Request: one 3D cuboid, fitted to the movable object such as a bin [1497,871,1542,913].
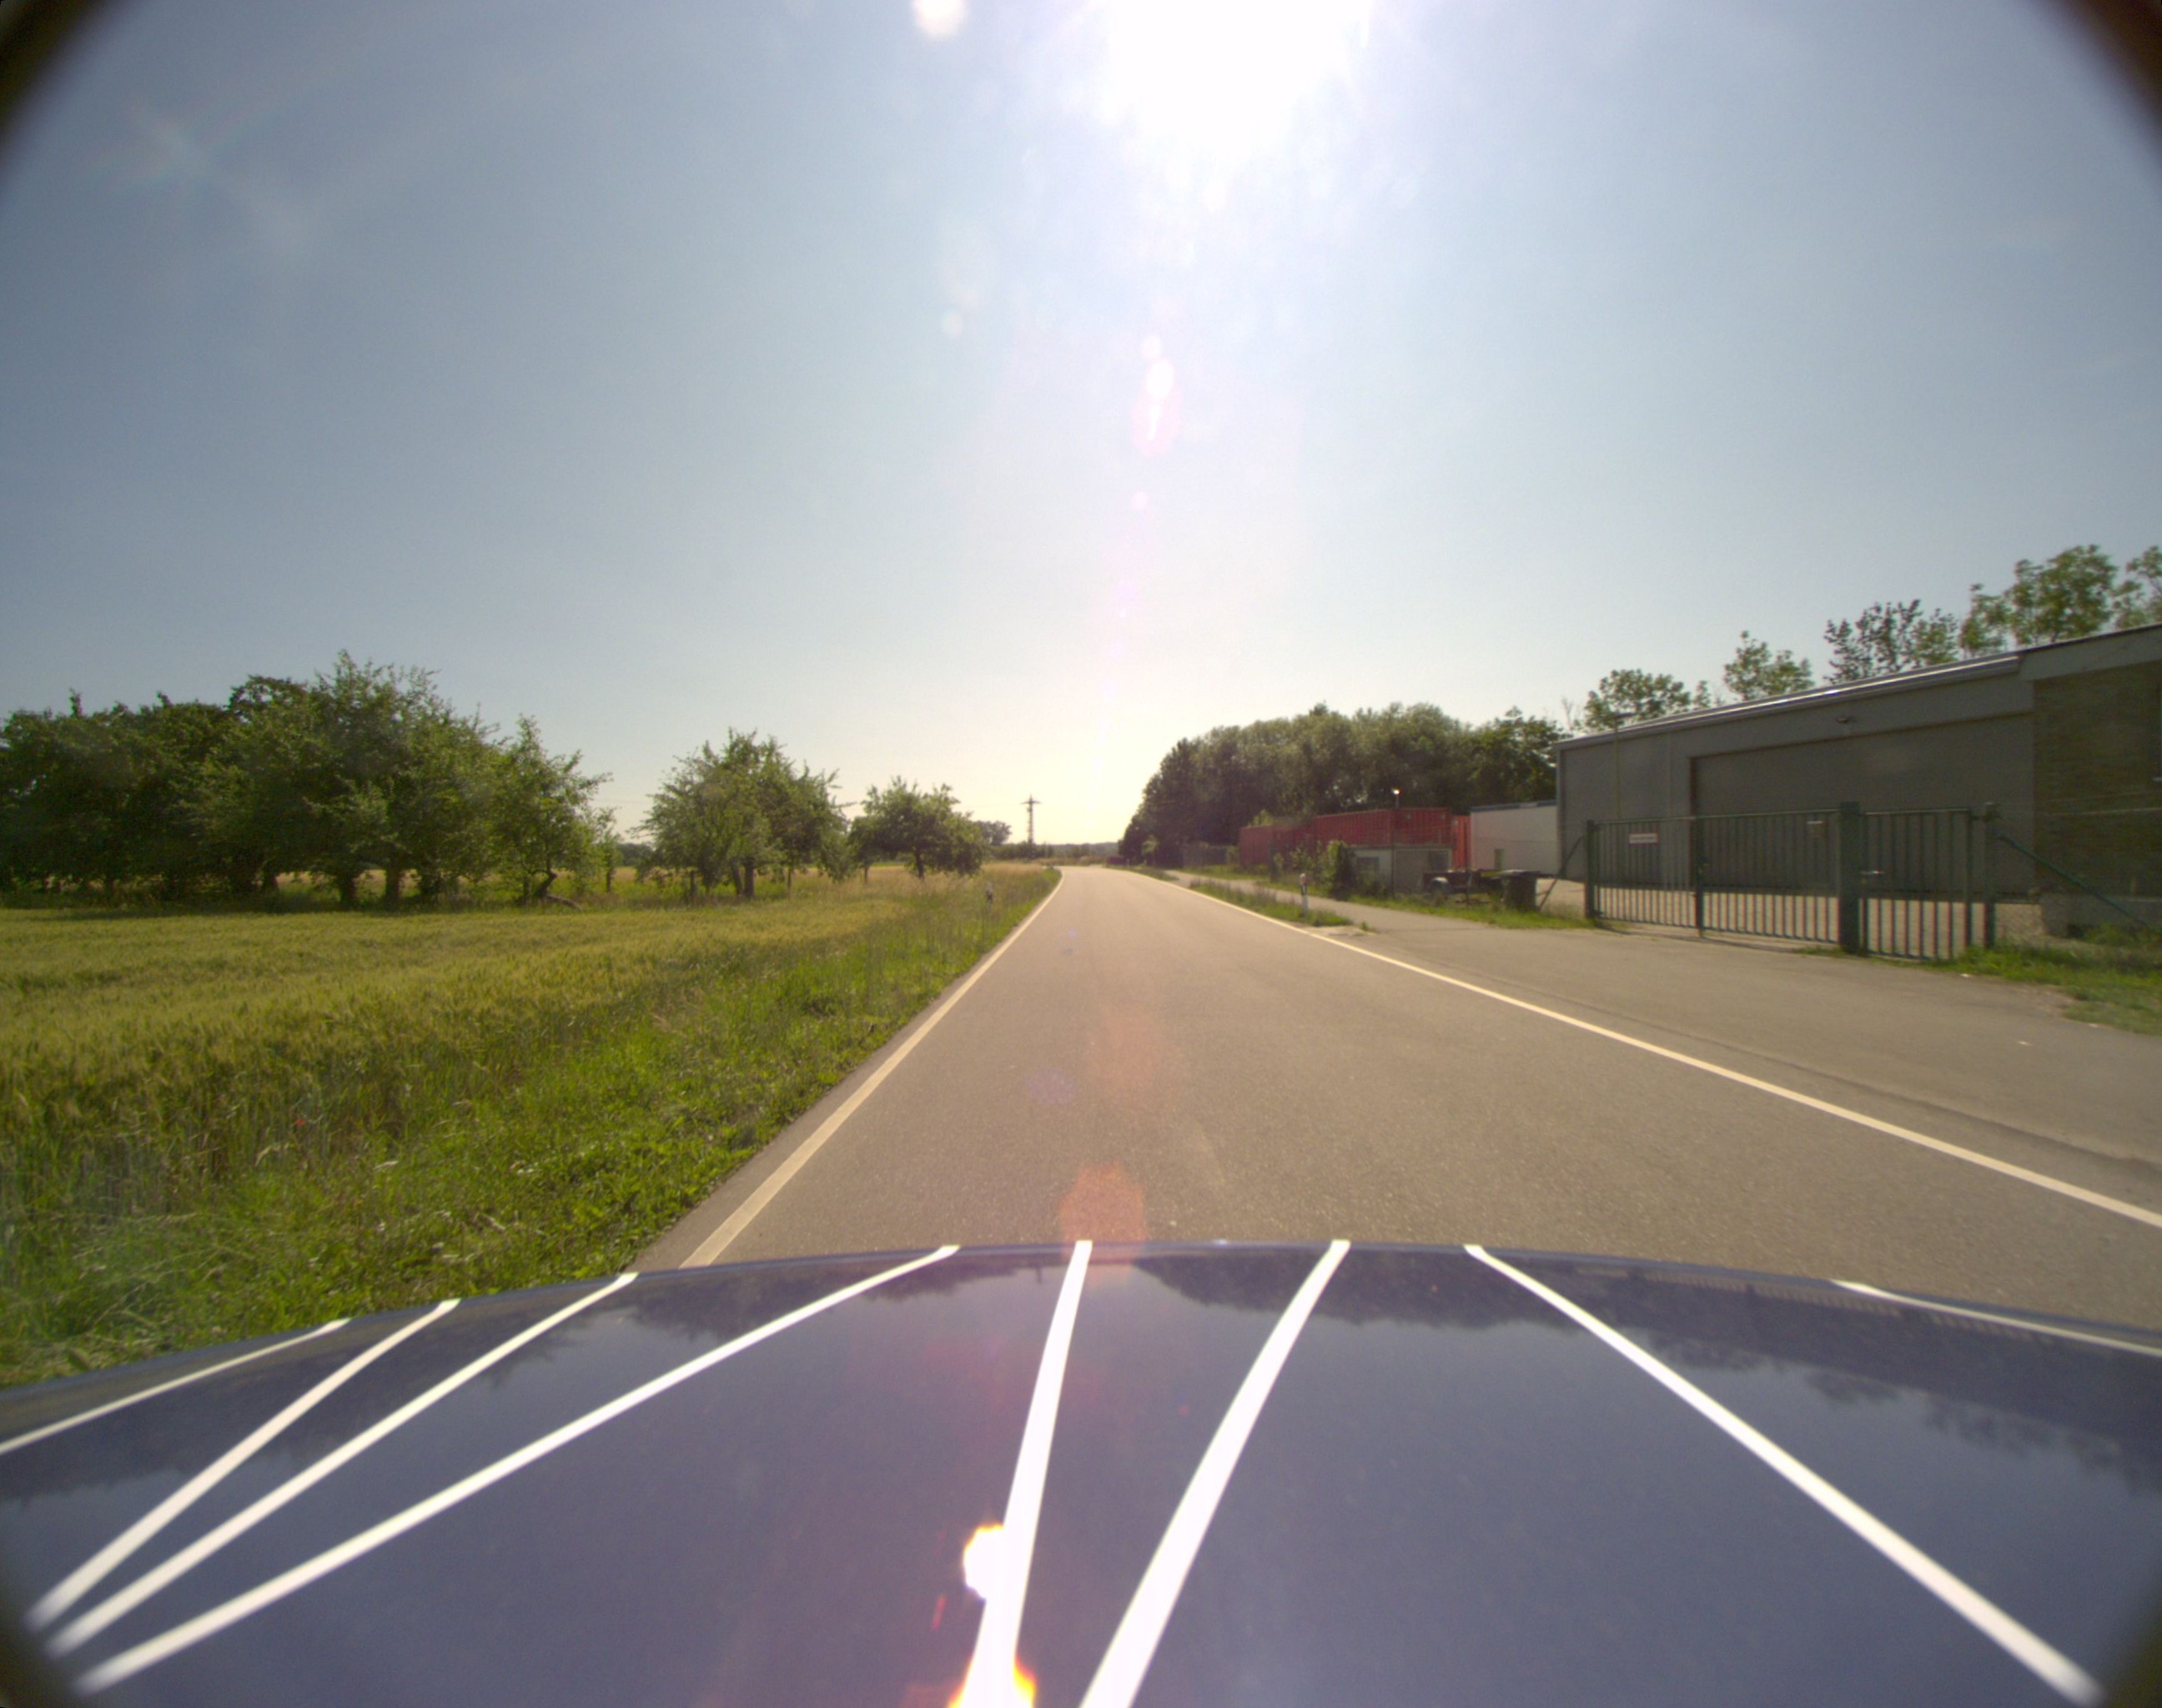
[{"bbox_3d":[9.499,0.815,16.488,0.640,0.871,0.654,0,0,6],"label":"movable object such as a bin"}]

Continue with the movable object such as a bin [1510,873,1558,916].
[{"bbox_3d":[9.419,0.830,15.811,0.640,0.849,0.654,0,0,6],"label":"movable object such as a bin"}]

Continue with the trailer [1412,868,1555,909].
[{"bbox_3d":[10.080,0.827,19.309,1.635,0.861,3.356,0,0,-5],"label":"trailer"}]
